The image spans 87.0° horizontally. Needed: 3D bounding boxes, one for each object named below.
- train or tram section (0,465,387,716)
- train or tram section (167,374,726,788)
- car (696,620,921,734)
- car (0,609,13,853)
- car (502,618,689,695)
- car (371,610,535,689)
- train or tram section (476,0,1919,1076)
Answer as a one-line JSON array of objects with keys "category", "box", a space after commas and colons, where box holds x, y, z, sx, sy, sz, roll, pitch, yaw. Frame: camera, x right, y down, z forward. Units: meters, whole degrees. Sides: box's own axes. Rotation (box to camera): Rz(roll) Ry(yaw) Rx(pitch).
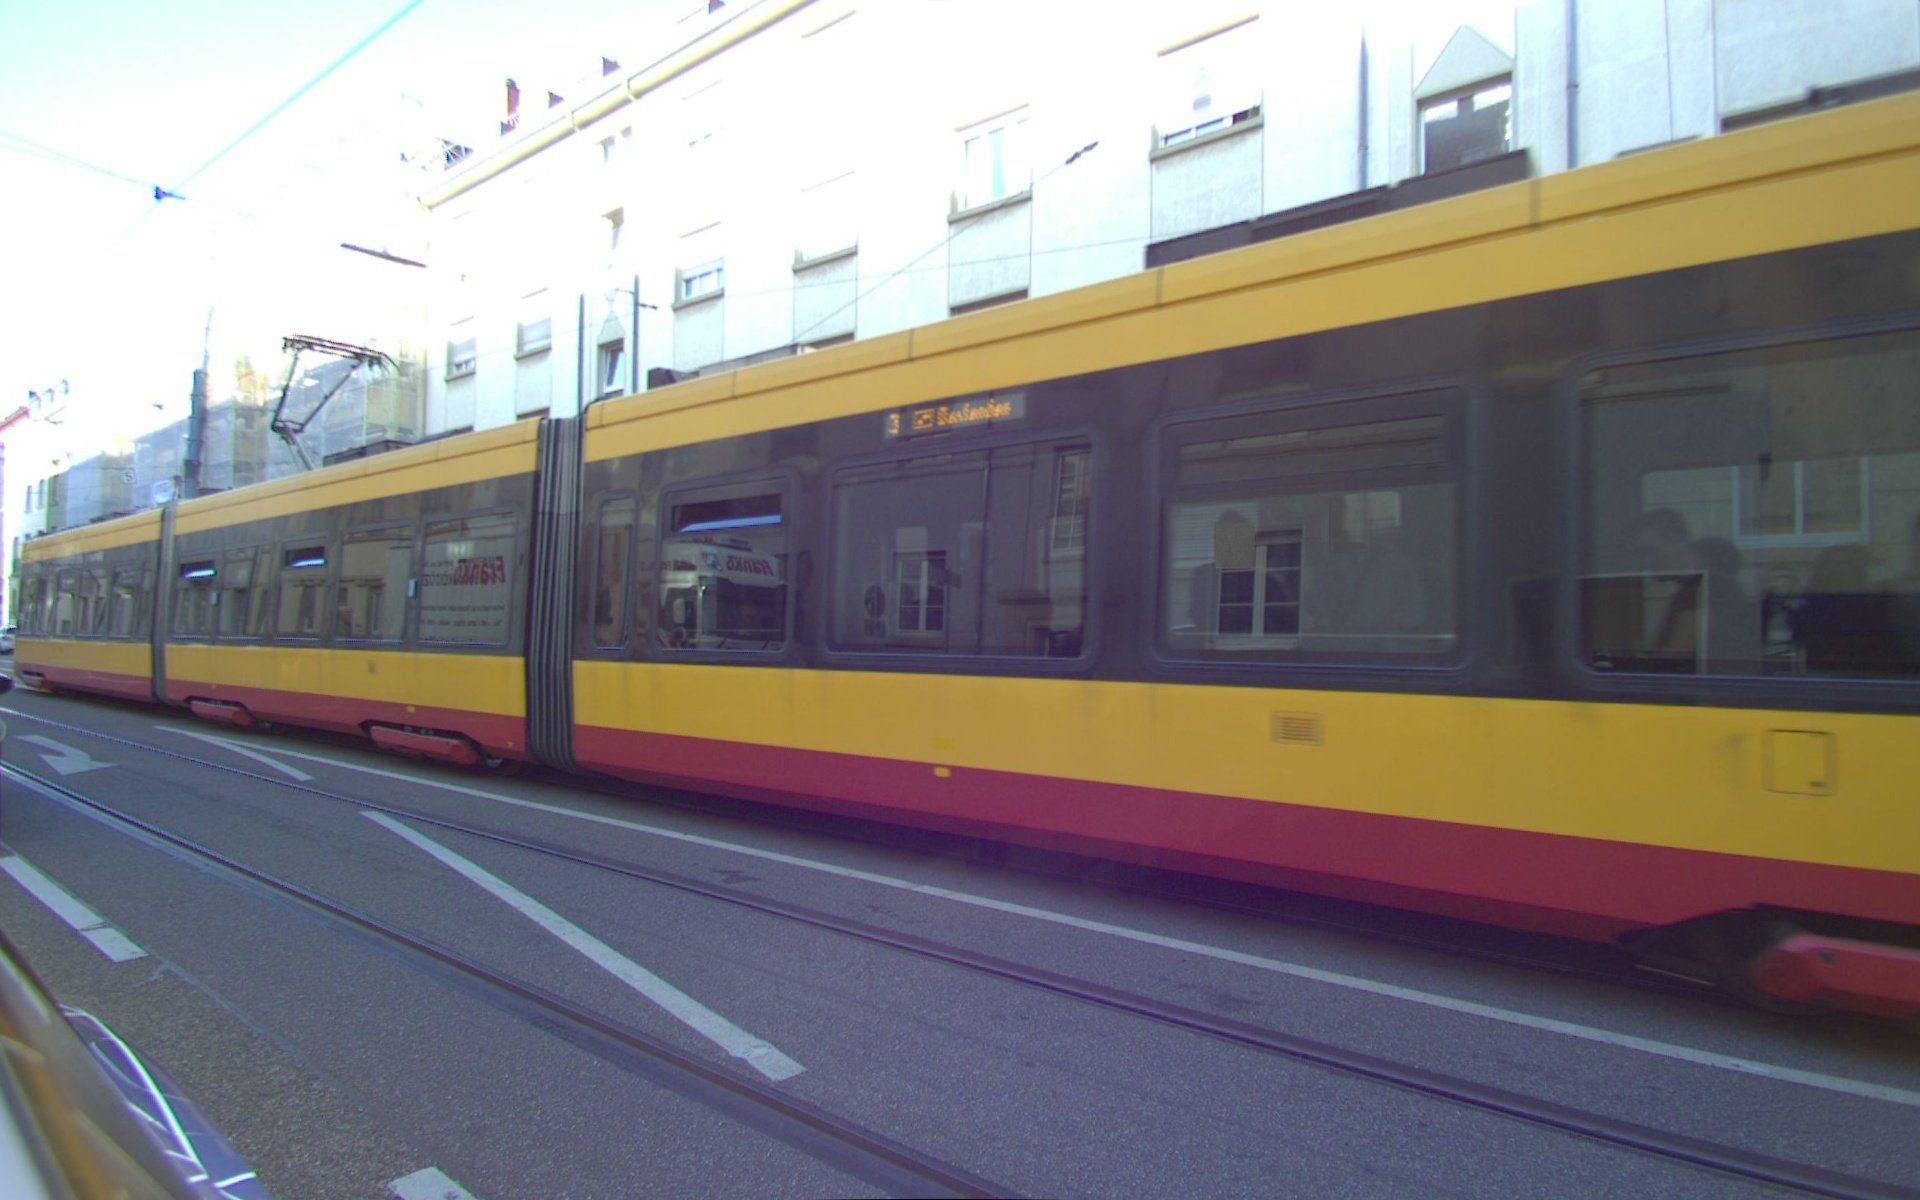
[{"category": "train or tram section", "box": [-15.537, 0.003, 19.665, 12.613, 3.621, 3.032, -1, -3, 38]}, {"category": "train or tram section", "box": [-7.004, -0.118, 12.870, 9.072, 3.658, 2.798, -1, 0, 38]}, {"category": "car", "box": [-2.484, 1.138, 16.286, 3.493, 1.584, 1.650, -1, 0, 38]}, {"category": "car", "box": [-8.000, 0.831, 6.982, 3.997, 1.515, 1.670, -1, -3, 40]}, {"category": "car", "box": [-6.984, 1.014, 19.295, 3.483, 1.286, 1.730, -1, 0, 37]}, {"category": "car", "box": [-11.382, 1.041, 22.633, 4.108, 1.603, 1.691, -1, 0, 38]}, {"category": "train or tram section", "box": [2.237, -0.336, 5.467, 14.245, 3.659, 2.719, -1, 0, 38]}]
